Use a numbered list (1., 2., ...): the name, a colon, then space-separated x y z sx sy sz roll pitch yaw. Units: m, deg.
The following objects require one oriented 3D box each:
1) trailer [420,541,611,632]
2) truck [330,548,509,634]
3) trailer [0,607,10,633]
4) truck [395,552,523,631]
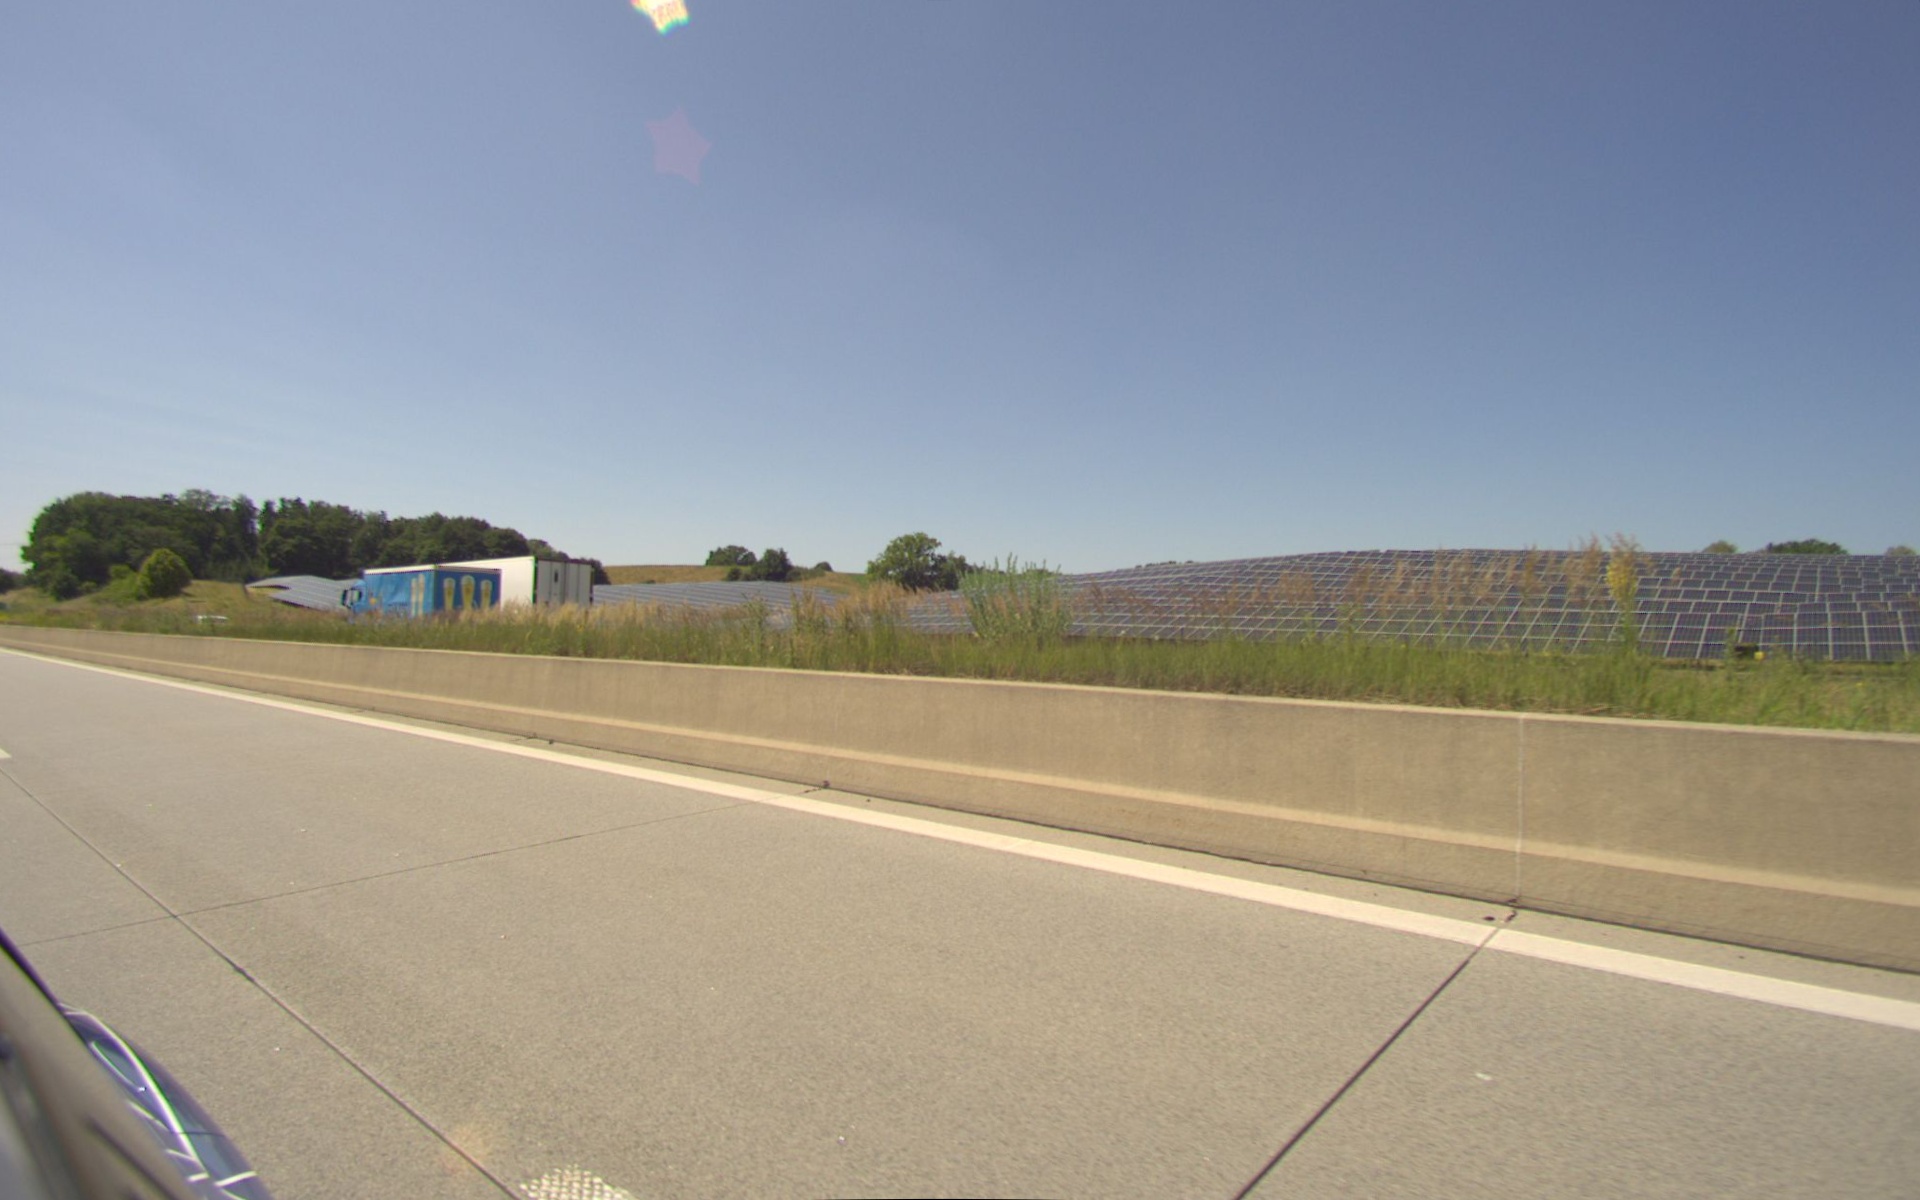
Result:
1. trailer: -19.731 -0.510 44.339 11.759 3.551 3.042 0 0 42
2. truck: -21.896 -0.321 40.612 10.370 3.087 2.795 0 0 41
3. trailer: -157.438 3.292 165.004 10.253 4.223 2.703 -1 -1 42
4. truck: -23.842 -0.380 48.029 6.882 3.513 3.090 0 0 42
